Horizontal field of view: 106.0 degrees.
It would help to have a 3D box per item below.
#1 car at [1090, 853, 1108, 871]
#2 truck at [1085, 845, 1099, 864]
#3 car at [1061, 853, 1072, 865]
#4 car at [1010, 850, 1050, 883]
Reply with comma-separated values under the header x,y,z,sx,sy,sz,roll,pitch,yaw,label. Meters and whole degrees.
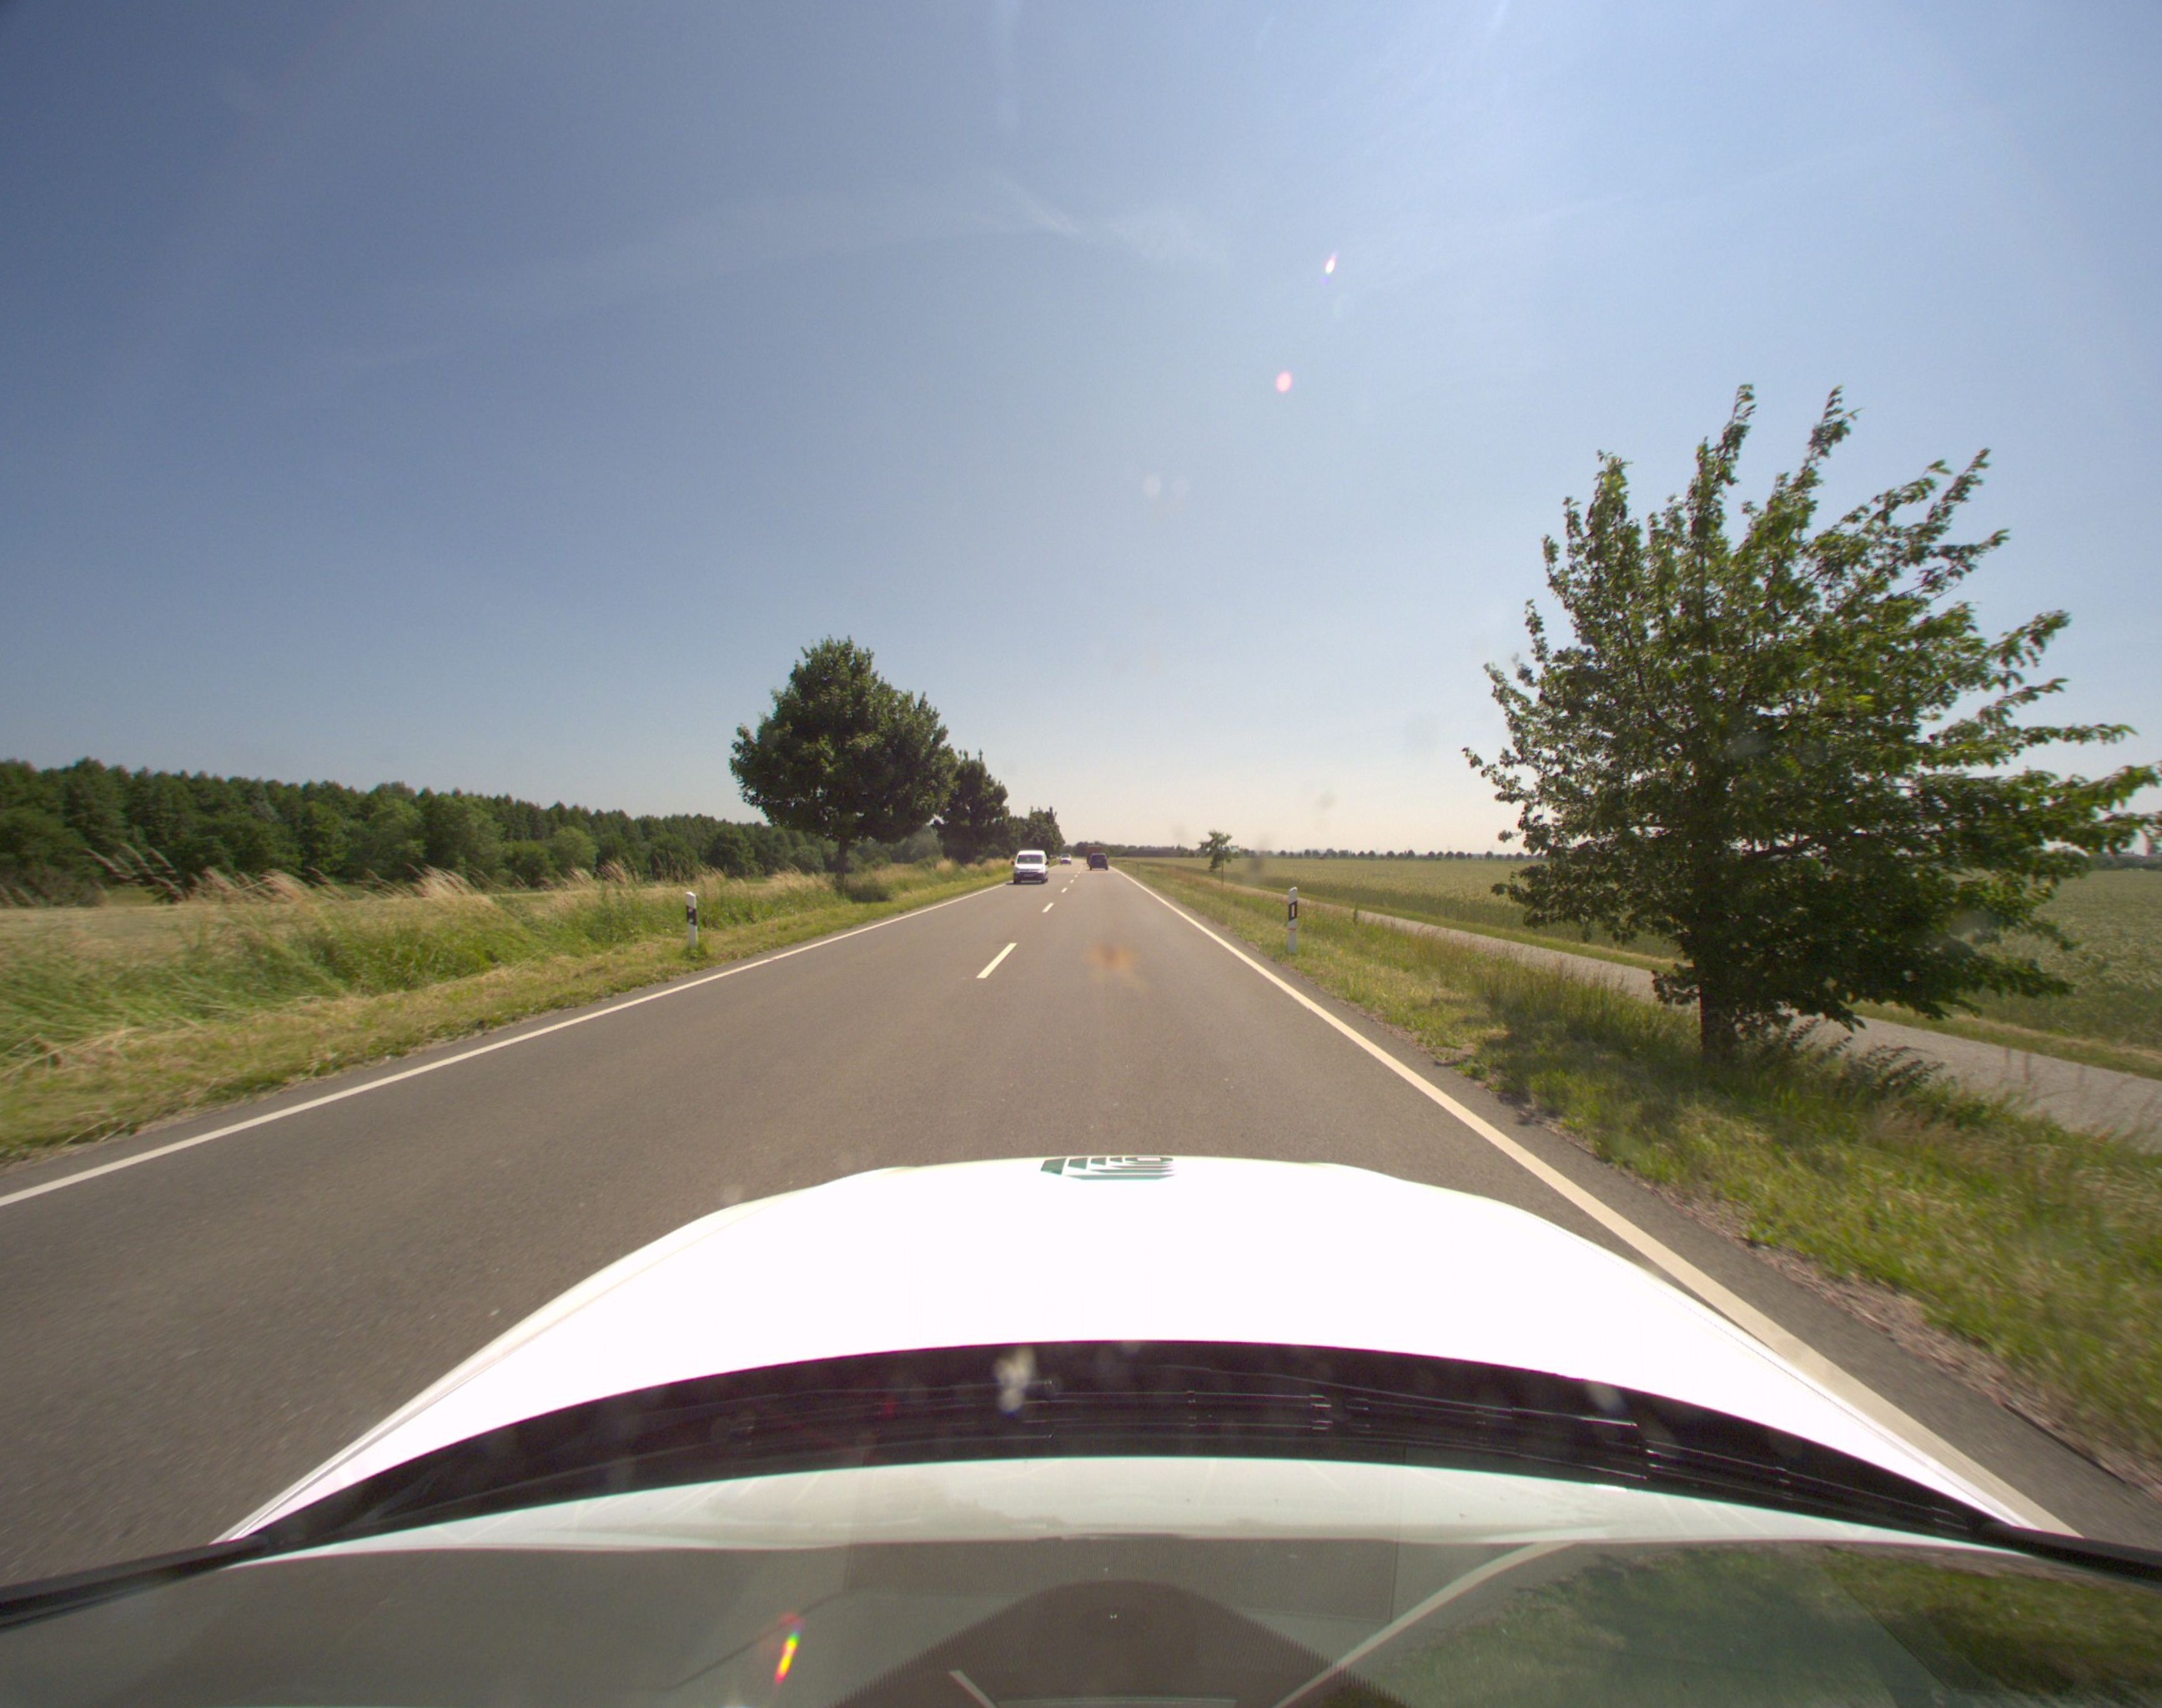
x,y,z,sx,sy,sz,roll,pitch,yaw,label
1.819,0.796,82.395,1.708,1.694,3.991,0,-1,3,car
1.915,0.059,141.480,2.362,3.140,8.748,0,0,1,truck
-2.315,0.841,131.864,1.720,1.840,3.999,0,-1,0,car
-2.780,0.683,45.400,1.780,1.728,4.306,0,0,2,car
